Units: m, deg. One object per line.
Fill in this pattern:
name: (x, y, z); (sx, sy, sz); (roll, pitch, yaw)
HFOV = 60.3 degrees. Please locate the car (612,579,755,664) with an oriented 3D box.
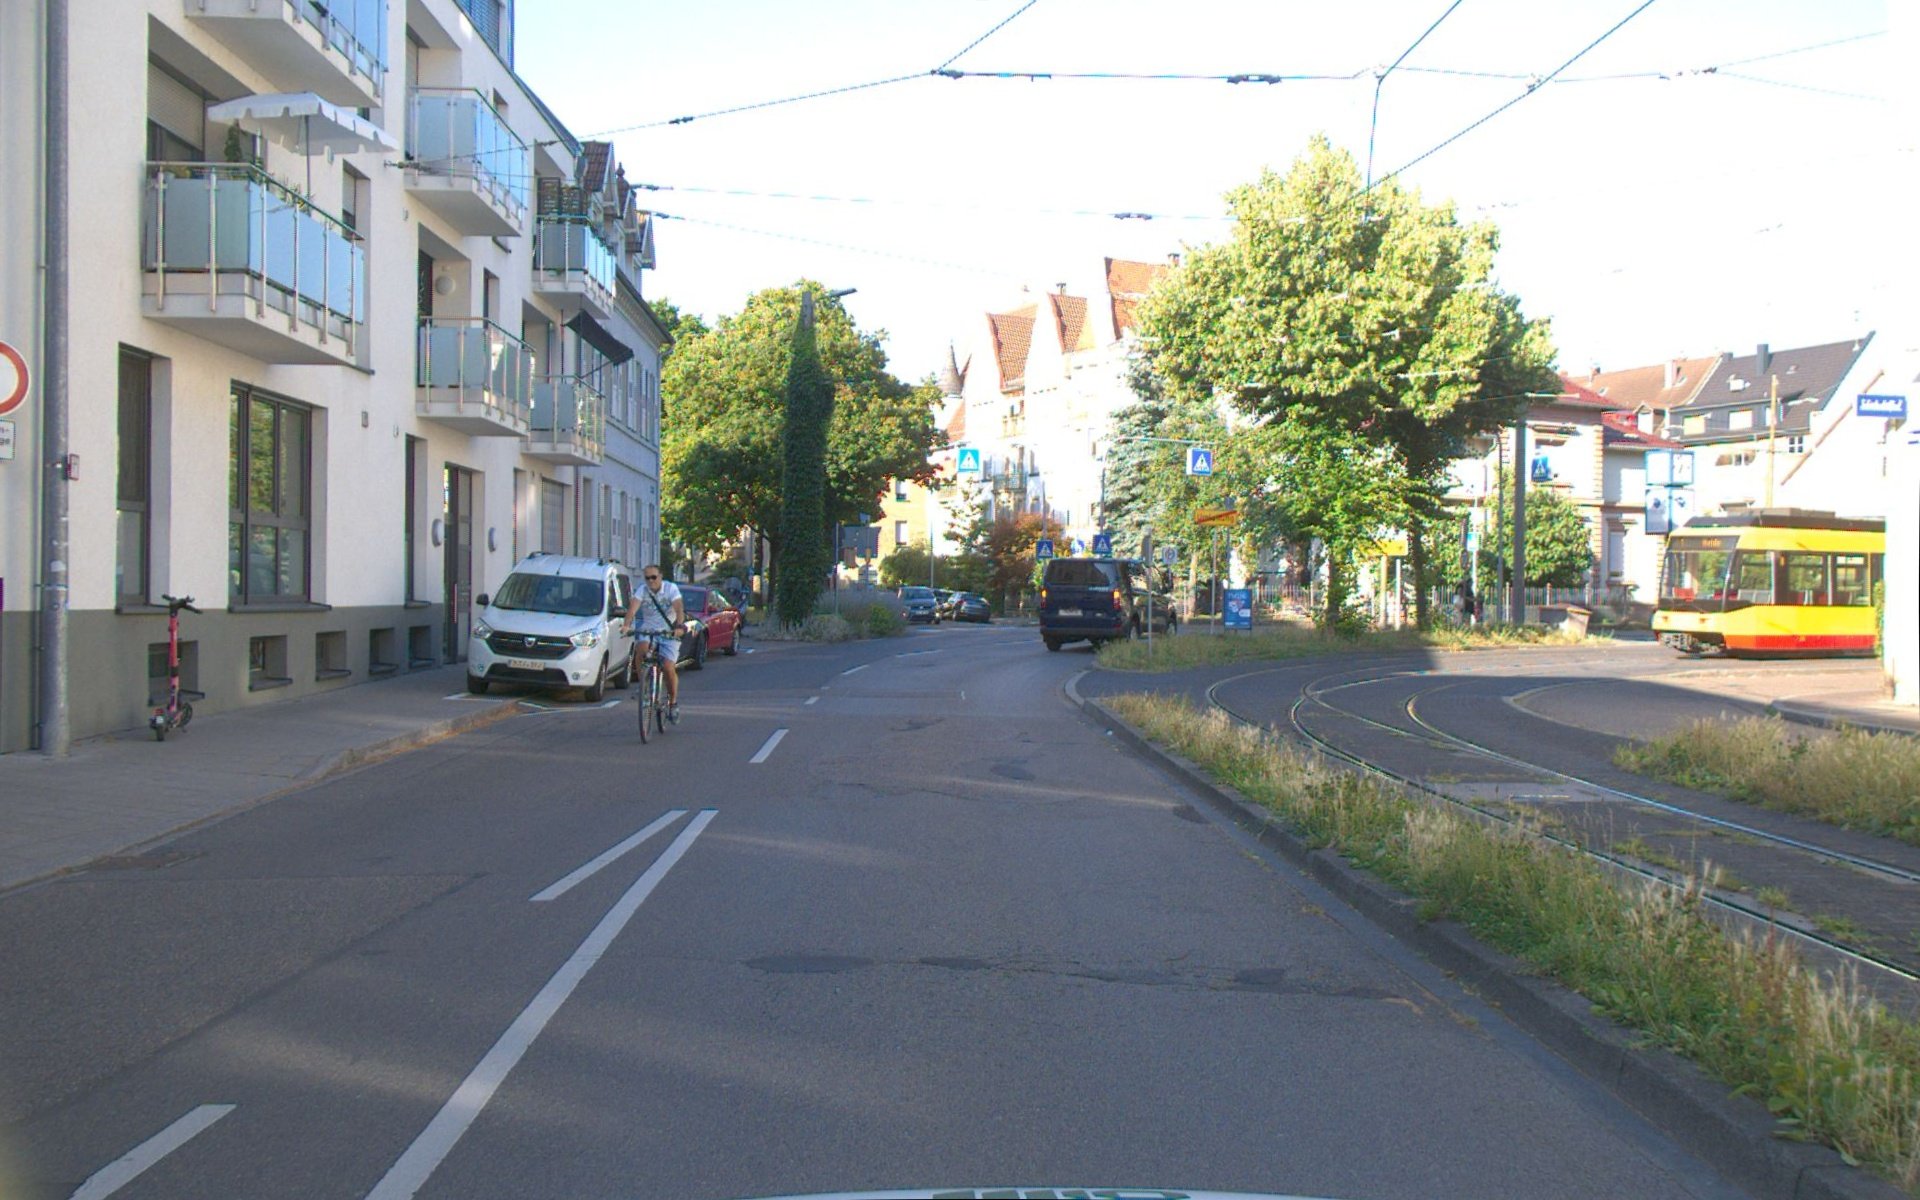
car: (-5.499, 0.372, 33.454); (1.673, 1.492, 4.595); (2, 2, 6)

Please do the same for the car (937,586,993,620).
car: (0.206, 0.138, 80.007); (1.958, 1.624, 3.989); (0, 0, -12)

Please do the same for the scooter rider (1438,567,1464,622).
scooter rider: (15.319, -0.183, 51.605); (0.595, 1.702, 0.653); (-1, 1, 35)

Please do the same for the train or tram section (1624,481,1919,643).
train or tram section: (20.698, -0.939, 40.522); (9.781, 3.617, 2.757); (-1, 1, -30)

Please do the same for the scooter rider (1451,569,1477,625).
scooter rider: (15.670, -0.099, 51.394); (0.595, 1.702, 0.653); (-1, 1, 35)

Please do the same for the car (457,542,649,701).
car: (-5.413, 0.254, 22.508); (1.775, 1.902, 4.329); (2, 0, -4)

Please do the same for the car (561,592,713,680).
car: (-5.257, 0.544, 27.388); (1.630, 1.296, 4.026); (2, 0, 1)

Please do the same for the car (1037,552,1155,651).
car: (3.057, -0.017, 36.407); (1.951, 2.048, 4.004); (0, 1, 14)

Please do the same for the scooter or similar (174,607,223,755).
scooter or similar: (-6.856, 0.708, 14.912); (0.221, 1.241, 1.150); (0, 1, -16)

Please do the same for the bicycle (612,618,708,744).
bicycle: (-2.879, 0.750, 16.015); (0.610, 1.100, 1.783); (-1, 0, -1)

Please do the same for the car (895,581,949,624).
car: (-1.533, 0.071, 65.274); (1.681, 1.427, 3.732); (0, 4, -9)

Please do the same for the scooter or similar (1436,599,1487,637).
scooter or similar: (15.600, 0.546, 51.482); (1.378, 1.156, 0.683); (0, 1, 36)

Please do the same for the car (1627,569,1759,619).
car: (24.758, -0.219, 55.919); (3.608, 1.531, 1.959); (-2, 1, -12)

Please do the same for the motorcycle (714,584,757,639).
motorcycle: (-5.809, 0.280, 42.693); (0.914, 1.381, 2.556); (0, 0, -12)

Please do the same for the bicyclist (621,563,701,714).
bicyclist: (-2.887, 0.362, 16.013); (0.610, 1.404, 0.801); (-1, 0, -1)
